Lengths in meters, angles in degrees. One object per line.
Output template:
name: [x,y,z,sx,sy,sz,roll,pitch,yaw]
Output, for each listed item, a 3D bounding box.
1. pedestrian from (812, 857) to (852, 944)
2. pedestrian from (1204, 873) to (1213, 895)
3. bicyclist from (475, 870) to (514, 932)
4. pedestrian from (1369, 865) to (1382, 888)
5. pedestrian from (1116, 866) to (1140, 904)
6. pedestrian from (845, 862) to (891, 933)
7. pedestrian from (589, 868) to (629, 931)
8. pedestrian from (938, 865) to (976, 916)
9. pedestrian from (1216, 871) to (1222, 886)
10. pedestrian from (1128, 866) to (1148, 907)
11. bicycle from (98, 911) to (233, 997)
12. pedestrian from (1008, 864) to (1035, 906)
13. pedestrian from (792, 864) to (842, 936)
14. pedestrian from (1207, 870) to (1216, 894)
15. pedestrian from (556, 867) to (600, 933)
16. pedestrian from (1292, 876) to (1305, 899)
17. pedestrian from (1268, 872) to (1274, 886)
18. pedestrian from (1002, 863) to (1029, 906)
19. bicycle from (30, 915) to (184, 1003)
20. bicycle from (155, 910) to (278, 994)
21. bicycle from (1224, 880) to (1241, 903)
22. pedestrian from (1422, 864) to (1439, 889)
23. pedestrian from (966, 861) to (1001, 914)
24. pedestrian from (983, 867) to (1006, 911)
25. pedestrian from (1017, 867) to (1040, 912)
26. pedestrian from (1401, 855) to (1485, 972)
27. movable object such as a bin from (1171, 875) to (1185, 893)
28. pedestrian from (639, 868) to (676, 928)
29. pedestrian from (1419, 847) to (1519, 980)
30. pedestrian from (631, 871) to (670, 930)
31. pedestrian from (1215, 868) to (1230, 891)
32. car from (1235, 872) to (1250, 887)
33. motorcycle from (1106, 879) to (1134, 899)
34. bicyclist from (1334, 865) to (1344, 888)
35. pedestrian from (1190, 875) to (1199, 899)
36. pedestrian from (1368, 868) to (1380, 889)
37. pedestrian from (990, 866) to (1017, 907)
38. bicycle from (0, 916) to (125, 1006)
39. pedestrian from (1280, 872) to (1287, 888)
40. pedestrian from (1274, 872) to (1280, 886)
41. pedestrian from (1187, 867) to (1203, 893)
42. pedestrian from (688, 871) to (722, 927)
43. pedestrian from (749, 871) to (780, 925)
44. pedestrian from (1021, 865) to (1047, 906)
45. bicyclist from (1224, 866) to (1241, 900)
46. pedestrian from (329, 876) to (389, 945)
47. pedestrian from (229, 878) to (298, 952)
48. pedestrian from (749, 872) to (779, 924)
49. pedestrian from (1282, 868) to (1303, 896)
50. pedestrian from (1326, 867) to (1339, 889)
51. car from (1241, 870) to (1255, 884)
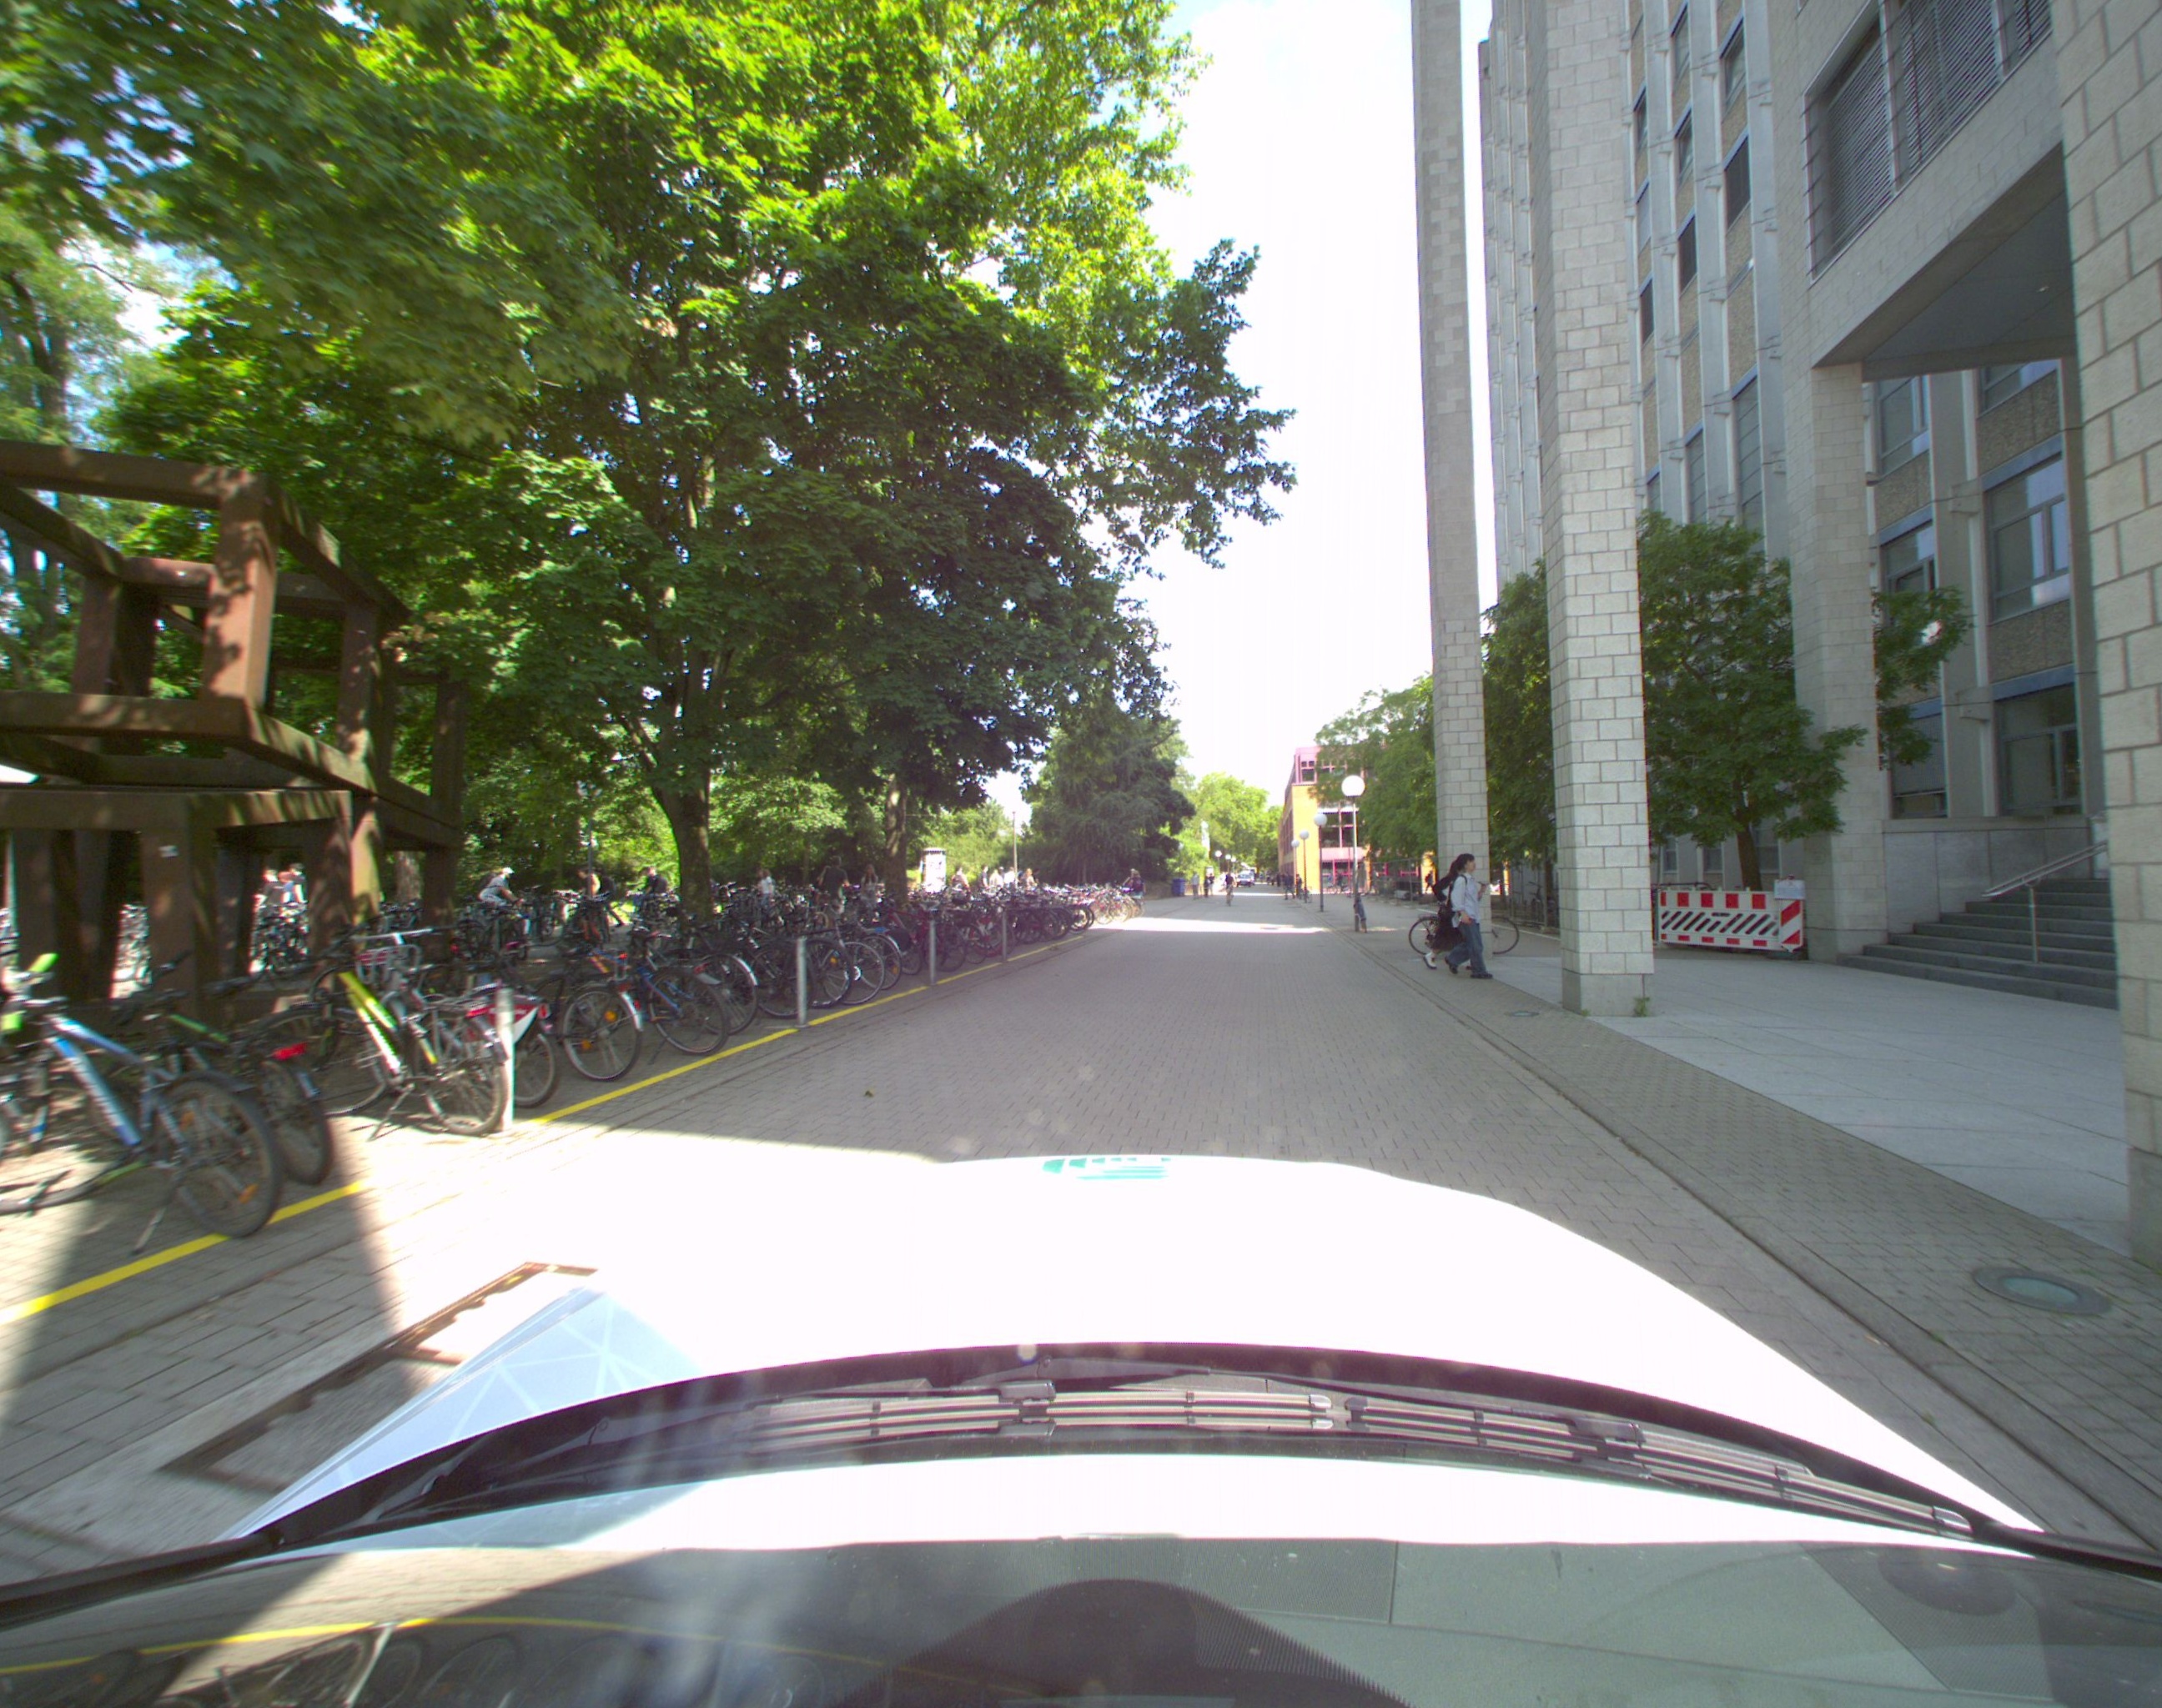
pedestrian: [-5.348,0.986,17.455,0.770,1.807,0.705,0,-2,-21]
pedestrian: [9.046,2.124,57.659,0.565,1.611,0.921,-1,-2,11]
bicyclist: [-15.191,1.209,21.104,0.723,1.568,0.590,1,-2,-29]
pedestrian: [23.881,1.849,65.997,0.821,1.844,0.686,-1,-2,10]
pedestrian: [2.354,1.525,40.486,1.055,1.835,0.607,1,-3,-42]
pedestrian: [-5.305,1.070,20.240,0.774,1.703,0.896,1,-2,-42]
pedestrian: [-13.797,1.317,23.827,0.907,1.774,0.764,0,-2,-22]
pedestrian: [-4.330,1.267,28.468,0.710,1.724,1.071,-3,-2,44]
pedestrian: [17.232,3.114,101.784,0.678,1.844,0.785,-1,-2,12]
pedestrian: [2.367,1.328,33.696,0.764,1.680,0.908,-2,-1,4]
bicycle: [-13.725,1.461,12.280,0.503,1.108,1.893,0,-2,-21]
pedestrian: [-2.616,1.355,35.659,0.824,1.815,0.888,-1,-2,27]
pedestrian: [-6.456,1.104,19.938,0.760,1.703,0.912,-1,-2,25]
pedestrian: [10.247,2.197,63.916,0.678,1.844,0.785,-1,-2,12]
pedestrian: [-14.051,1.269,22.786,0.907,1.774,0.764,0,-2,-22]
pedestrian: [16.157,2.486,60.539,0.845,1.651,0.591,-1,-3,19]
pedestrian: [23.411,3.038,100.213,0.582,1.673,0.820,-3,-3,14]
pedestrian: [-2.650,1.226,32.917,0.938,1.724,0.672,-1,-1,-21]
bicycle: [-14.386,1.504,12.108,0.502,1.108,1.895,0,-2,-18]
bicycle: [-13.248,1.459,12.552,0.503,1.108,1.893,0,-2,-21]
bicycle: [7.770,1.921,41.789,0.767,1.150,2.113,-2,-3,9]
pedestrian: [24.749,1.577,57.633,0.897,1.729,0.686,-1,-4,7]
pedestrian: [-3.419,1.168,28.585,0.946,1.835,0.678,0,-2,-44]
pedestrian: [-3.466,1.382,32.751,0.687,1.724,0.725,-1,-1,-24]
pedestrian: [-2.004,1.346,31.108,0.680,1.724,0.733,0,-2,10]
pedestrian: [5.281,0.840,11.898,0.810,1.617,0.734,-1,-2,-30]
movable object such as a bin: [7.215,2.231,60.623,0.703,1.336,1.246,1,-1,22]
pedestrian: [-12.893,1.326,24.805,0.907,1.774,0.764,0,-2,-22]
pedestrian: [5.152,0.775,10.829,0.679,1.670,0.888,-1,-4,-41]
pedestrian: [-12.602,1.334,23.871,0.907,1.680,0.764,0,-2,-22]
pedestrian: [11.812,2.129,67.981,1.088,1.882,0.717,2,-3,-43]
car: [20.158,3.125,101.647,1.778,1.762,4.496,-2,-1,12]
motorcycle: [2.178,1.987,46.025,0.476,1.047,2.004,1,-1,-35]
bicyclist: [19.533,1.688,61.747,0.658,1.716,0.591,-1,-2,19]
pedestrian: [8.844,2.555,63.531,0.679,1.873,1.123,-1,-2,8]
pedestrian: [23.475,1.963,65.284,0.776,1.621,0.686,-1,-2,10]
pedestrian: [-3.436,1.428,36.008,0.760,1.804,0.990,-1,-2,29]
bicycle: [-14.811,1.486,11.660,0.502,1.108,1.895,0,-2,-18]
pedestrian: [21.628,2.814,86.989,0.582,1.673,0.701,-3,-3,13]
pedestrian: [24.473,3.091,101.783,0.582,1.673,0.820,-3,-3,14]
pedestrian: [8.219,1.893,58.725,0.784,1.845,1.113,0,-2,-12]
pedestrian: [-11.559,1.366,25.067,0.907,1.680,0.764,0,-2,-22]
pedestrian: [-10.166,1.400,26.156,0.907,1.680,0.764,0,-2,-22]
pedestrian: [-2.006,1.330,34.856,0.909,1.724,0.678,1,-2,-42]
bicyclist: [7.762,1.482,41.794,0.767,1.716,0.913,-2,-3,9]
pedestrian: [-19.153,1.490,21.629,0.904,1.774,0.767,0,-2,-10]
pedestrian: [-20.267,1.486,20.208,0.904,1.774,0.767,0,-2,-11]
pedestrian: [-10.461,1.446,26.903,0.907,1.680,0.764,0,-2,-22]
pedestrian: [13.839,1.833,53.359,1.037,1.858,0.878,1,-2,-38]
pedestrian: [19.574,1.867,63.375,0.894,1.729,0.688,-3,-4,22]
car: [23.645,3.194,115.015,1.871,1.974,5.231,-1,-1,12]
